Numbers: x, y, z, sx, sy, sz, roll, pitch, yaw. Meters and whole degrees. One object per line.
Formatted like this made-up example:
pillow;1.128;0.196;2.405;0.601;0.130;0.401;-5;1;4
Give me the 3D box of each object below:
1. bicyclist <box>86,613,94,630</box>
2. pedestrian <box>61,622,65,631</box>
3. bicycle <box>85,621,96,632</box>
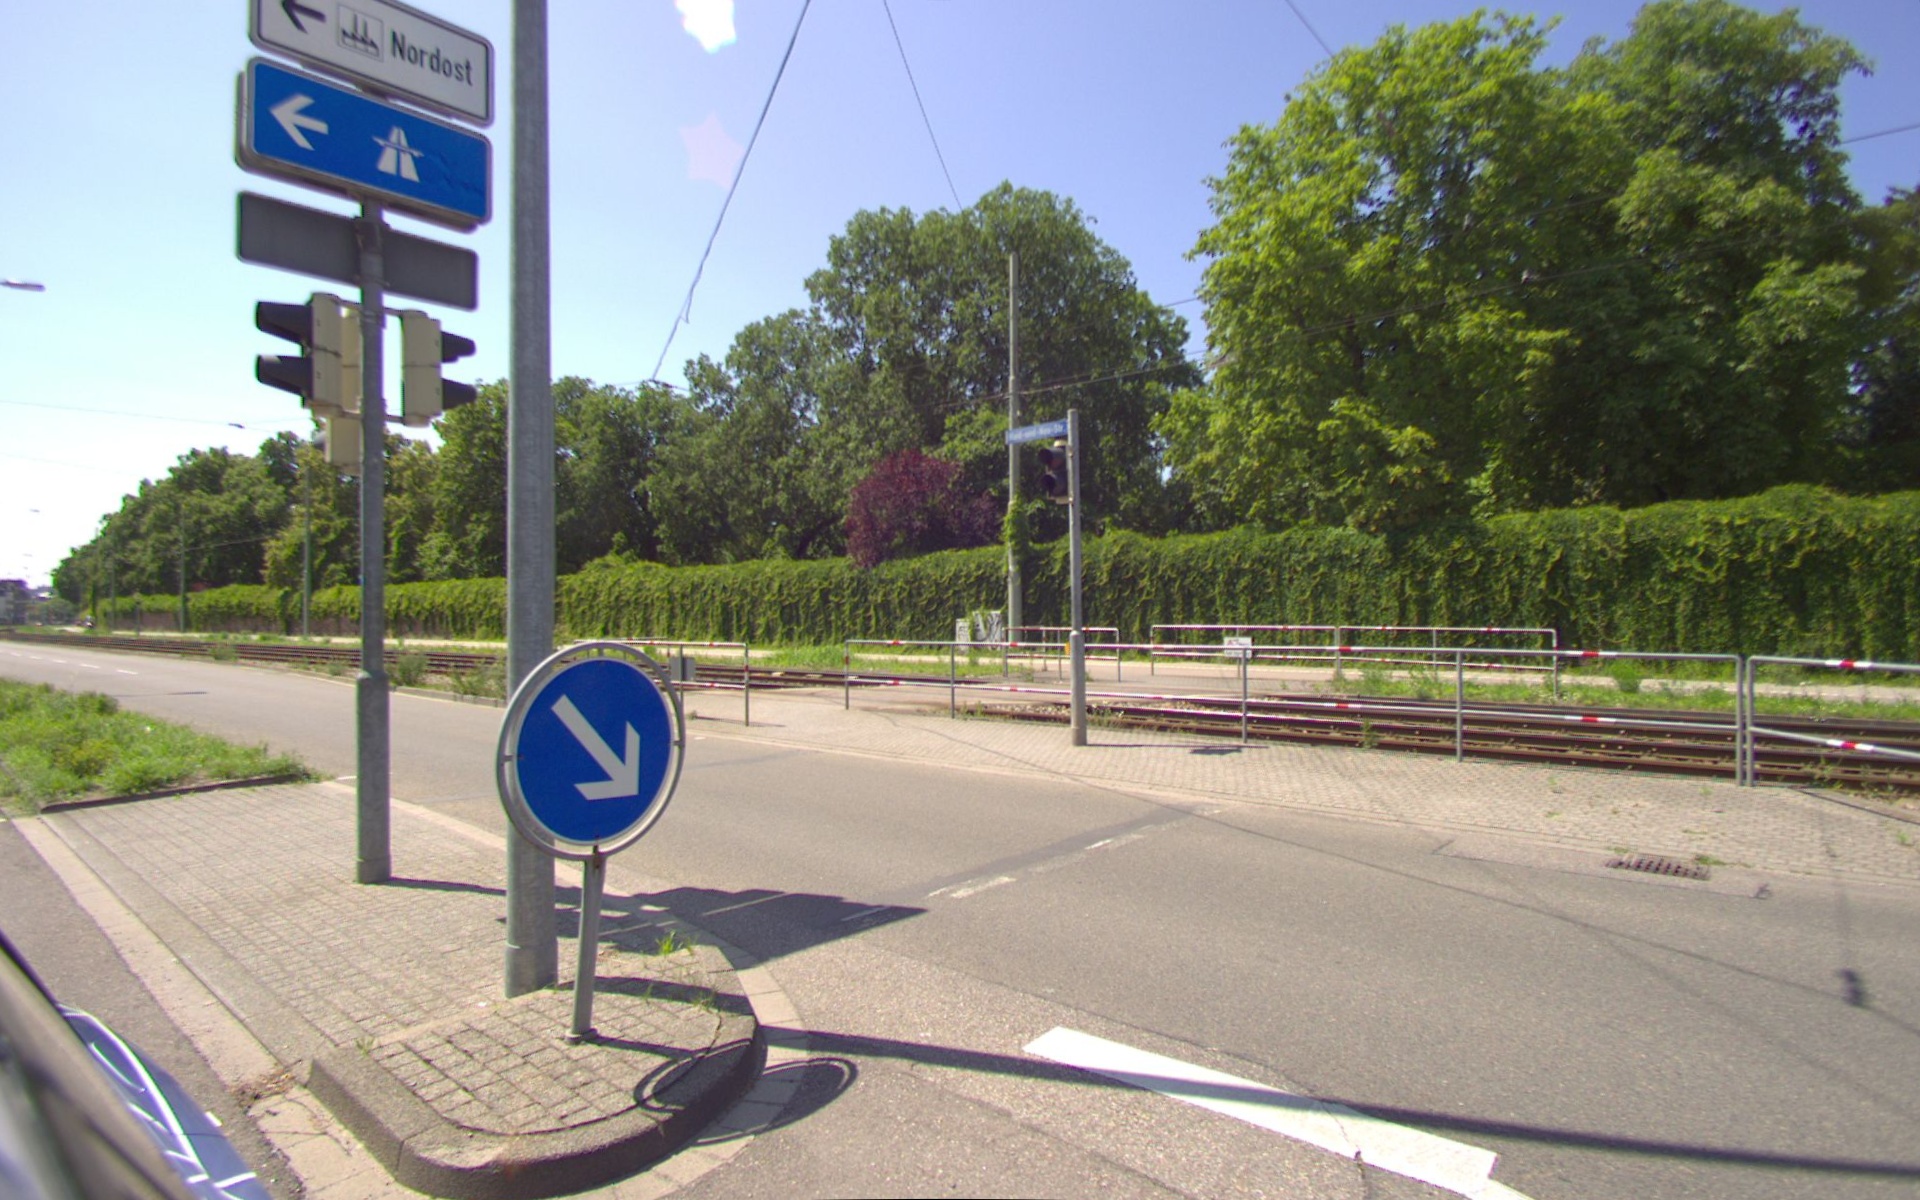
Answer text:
bicyclist;-85.665;2.132;99.677;0.769;1.624;0.477;-1;1;43
pedestrian;-165.363;4.930;186.517;0.302;1.677;0.447;-2;-1;41
bicycle;-85.626;2.635;99.648;1.978;1.063;0.609;-1;1;43
